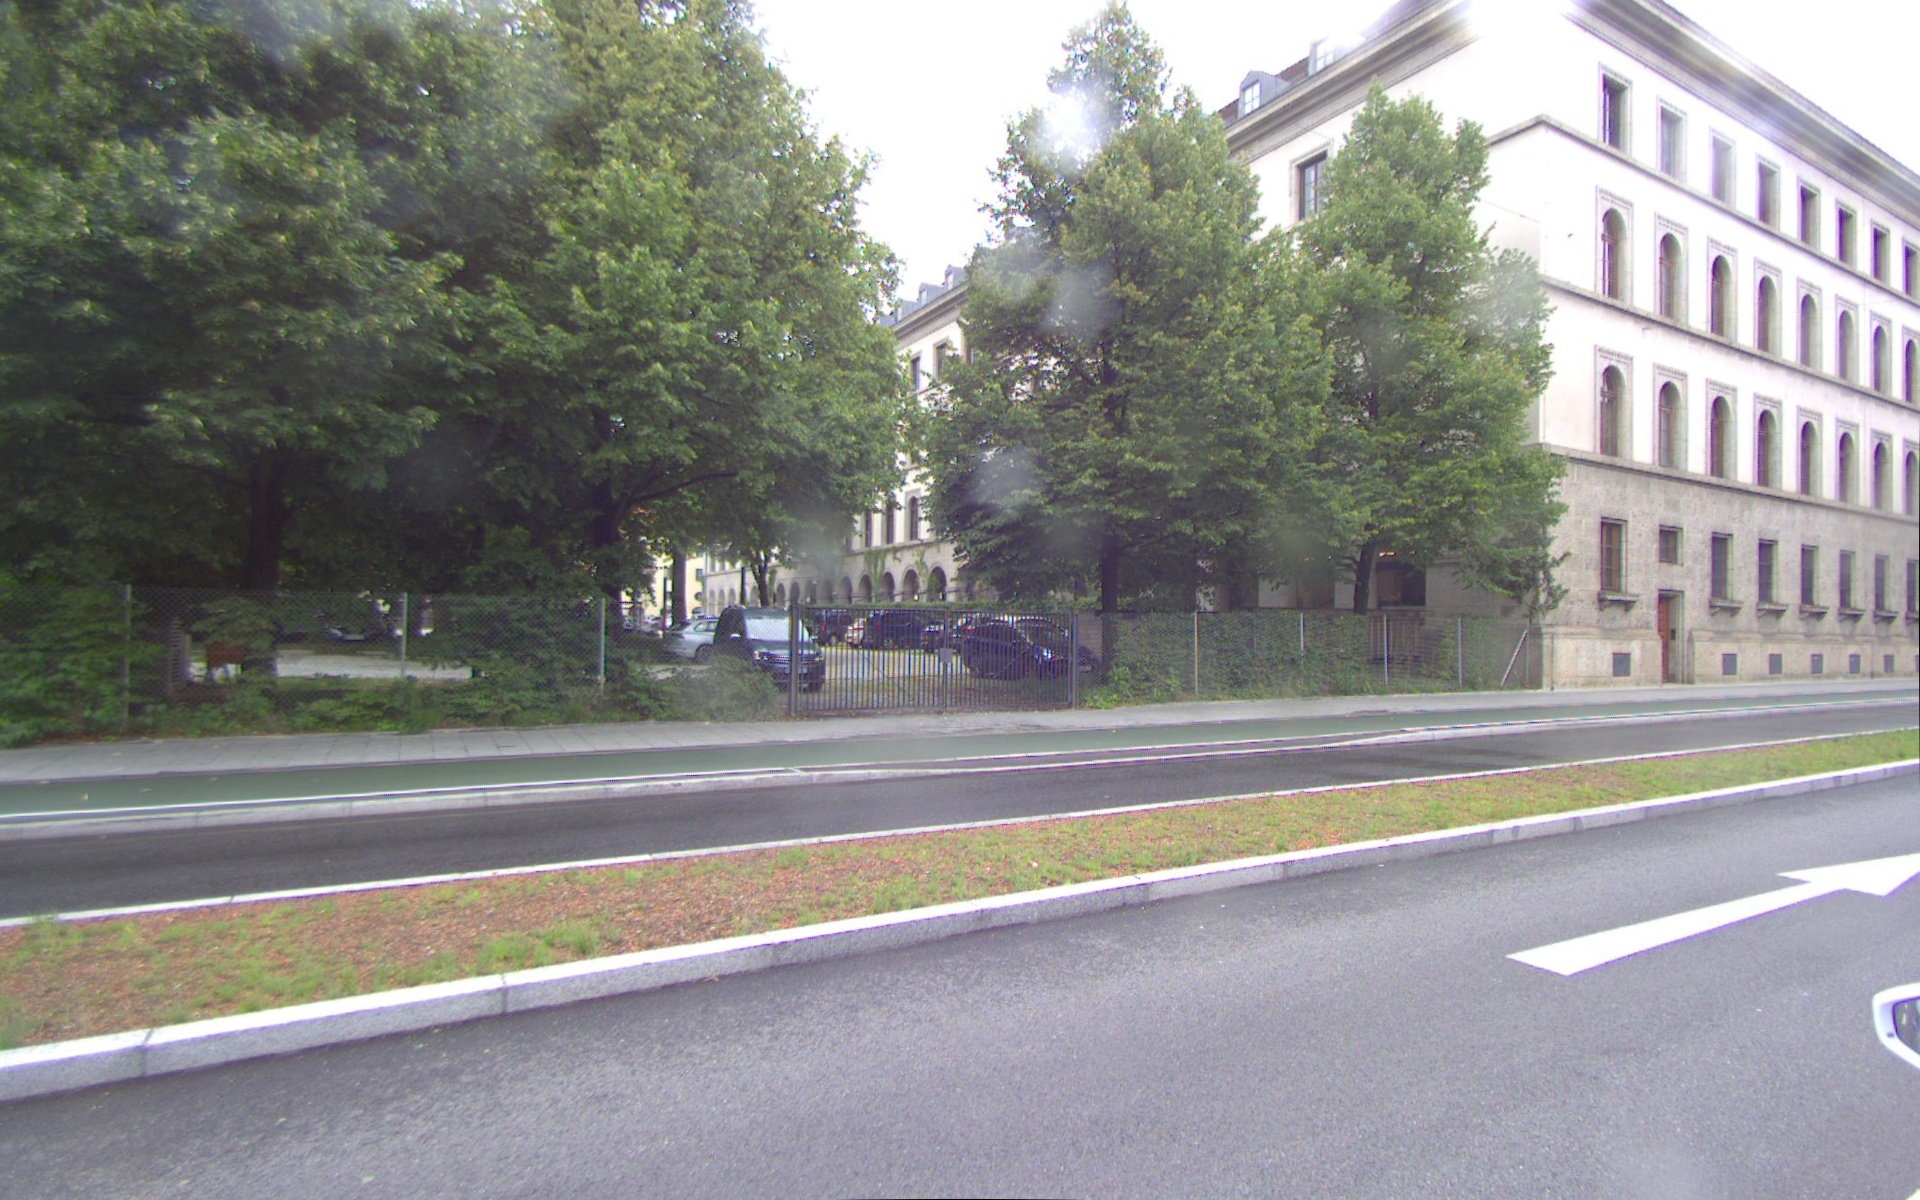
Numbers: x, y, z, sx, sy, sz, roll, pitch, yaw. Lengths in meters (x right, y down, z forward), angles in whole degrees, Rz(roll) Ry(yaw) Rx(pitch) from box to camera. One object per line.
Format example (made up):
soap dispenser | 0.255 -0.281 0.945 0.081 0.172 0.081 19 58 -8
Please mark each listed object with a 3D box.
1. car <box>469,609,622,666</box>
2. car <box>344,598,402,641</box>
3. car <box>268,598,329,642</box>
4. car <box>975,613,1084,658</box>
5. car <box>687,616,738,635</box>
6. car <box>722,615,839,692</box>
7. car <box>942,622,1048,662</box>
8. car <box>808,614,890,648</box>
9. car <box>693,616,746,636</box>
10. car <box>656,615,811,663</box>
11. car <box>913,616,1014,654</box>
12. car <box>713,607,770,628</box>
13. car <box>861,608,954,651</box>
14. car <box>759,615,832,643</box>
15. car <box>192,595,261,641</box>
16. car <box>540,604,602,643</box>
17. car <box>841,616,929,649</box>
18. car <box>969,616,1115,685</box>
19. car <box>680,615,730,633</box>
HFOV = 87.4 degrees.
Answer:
car | -12.216 1.101 29.676 3.956 1.564 1.761 2 -1 -32
car | -24.972 0.824 42.710 1.978 1.742 3.965 2 -2 -32
car | -27.578 0.847 41.980 1.978 1.742 3.965 2 -2 -32
car | 2.698 1.369 38.614 3.954 1.661 1.657 2 -1 -31
car | -21.142 2.169 85.858 3.954 1.564 1.761 2 -1 -31
car | -4.232 1.182 23.173 1.779 1.609 4.137 1 -2 -23
car | 1.433 1.695 40.756 3.954 1.564 1.761 2 -1 -31
car | -5.930 1.646 53.696 3.954 1.755 1.761 2 -1 -31
car | -20.022 2.179 83.656 3.954 1.564 1.761 2 -1 -31
car | -7.377 1.269 32.841 4.579 1.460 1.984 2 -1 -31
car | 0.160 1.491 42.883 3.954 1.564 1.761 2 -1 -31
car | -16.861 1.371 77.450 3.954 1.564 1.761 2 -1 -31
car | -2.452 1.380 47.199 3.949 1.954 1.838 2 -1 -27
car | -9.805 1.736 59.848 3.954 1.564 1.761 2 -1 -31
car | -29.415 0.726 40.362 1.979 1.742 3.964 2 -2 -33
car | -18.374 1.086 47.328 1.978 1.742 3.965 2 -2 -32
car | -3.680 1.577 49.281 3.954 1.564 1.761 2 -1 -31
car | 2.077 1.272 26.530 1.783 1.671 4.243 1 -2 -30
car | -22.392 2.128 88.332 3.954 1.564 1.761 2 -1 -31
